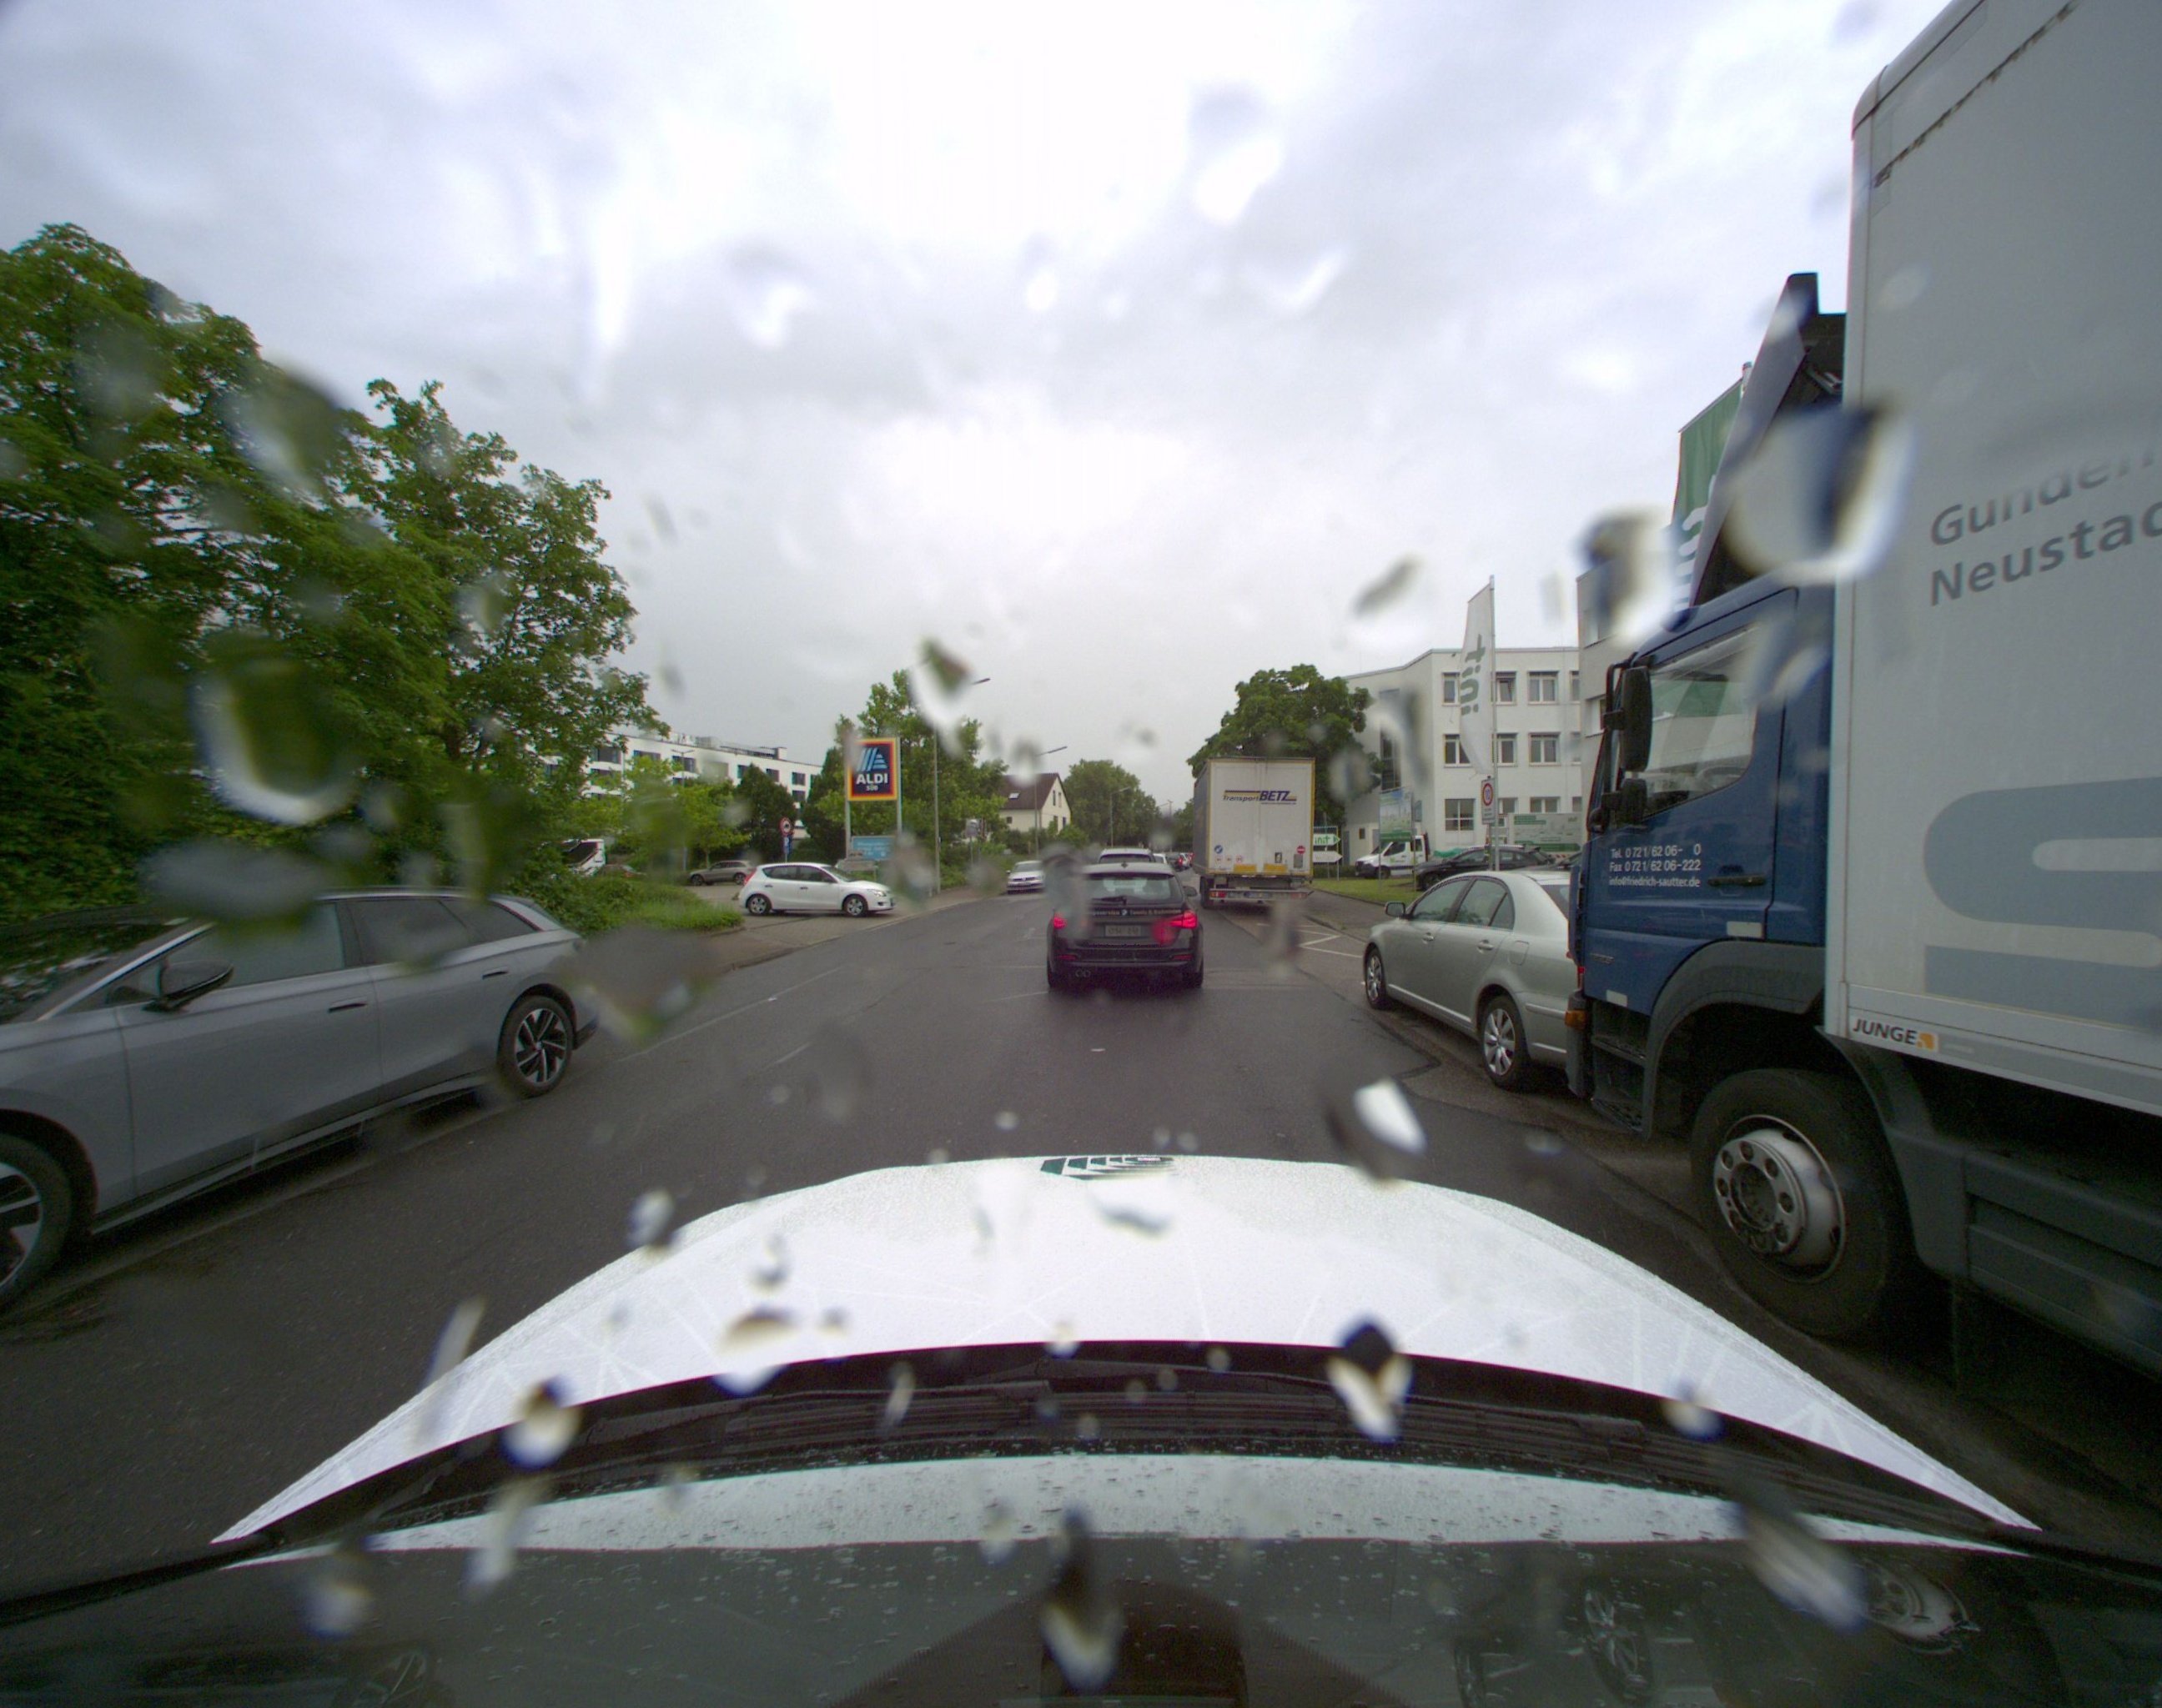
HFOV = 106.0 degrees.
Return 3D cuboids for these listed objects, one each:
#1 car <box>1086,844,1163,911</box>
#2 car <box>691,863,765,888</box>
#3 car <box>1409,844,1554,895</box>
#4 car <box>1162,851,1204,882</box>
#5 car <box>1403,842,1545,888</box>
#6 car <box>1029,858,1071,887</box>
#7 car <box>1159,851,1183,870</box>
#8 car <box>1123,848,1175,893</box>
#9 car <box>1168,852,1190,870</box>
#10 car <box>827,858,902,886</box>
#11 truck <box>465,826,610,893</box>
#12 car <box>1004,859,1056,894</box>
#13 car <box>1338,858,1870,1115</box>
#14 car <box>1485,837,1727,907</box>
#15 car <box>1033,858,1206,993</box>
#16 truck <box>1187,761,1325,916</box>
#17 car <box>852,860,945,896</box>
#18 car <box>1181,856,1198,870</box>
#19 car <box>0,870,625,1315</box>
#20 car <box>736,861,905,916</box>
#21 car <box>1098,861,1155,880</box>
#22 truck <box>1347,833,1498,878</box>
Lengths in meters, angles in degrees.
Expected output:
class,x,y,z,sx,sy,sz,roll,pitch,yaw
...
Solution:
class,x,y,z,sx,sy,sz,roll,pitch,yaw
car,1.051,0.568,21.437,1.798,1.586,3.999,0,-1,0
car,-23.424,1.428,54.070,3.969,1.499,2.002,-1,0,3
car,12.587,0.429,25.692,3.733,1.396,1.738,2,2,42
car,5.721,0.717,46.161,1.986,1.684,4.001,0,-1,1
car,13.496,0.334,28.093,4.098,1.415,1.701,1,3,42
car,-1.607,0.958,43.397,1.697,1.367,3.844,-4,0,5
car,7.610,0.544,68.675,1.793,1.586,4.011,-1,-1,10
car,2.670,0.610,31.223,1.794,1.586,4.008,-1,-1,7
car,9.040,0.609,74.823,1.793,1.586,4.011,-1,-1,10
car,-13.062,1.077,49.256,3.971,1.540,1.912,-1,0,2
truck,-23.792,0.237,36.090,1.986,2.657,6.398,-1,0,1
car,-2.274,0.978,37.439,1.698,1.367,4.606,-4,0,4
car,3.729,0.781,6.916,1.791,1.441,4.346,-1,0,1
car,12.316,0.406,19.282,4.616,1.468,1.802,-1,0,40
car,0.410,0.765,10.525,1.798,1.395,3.999,0,-1,0
truck,4.608,-0.366,23.028,2.729,3.611,7.759,1,0,4
car,-7.865,1.015,35.239,3.554,1.460,1.714,1,0,3
car,12.505,0.987,93.405,1.793,1.586,4.011,-1,-1,10
car,-4.764,0.959,4.342,1.802,1.528,4.748,-5,0,1
car,-7.251,0.941,22.927,4.178,1.460,1.711,0,0,-1
car,3.430,1.242,61.579,4.170,1.362,1.590,-1,0,2
truck,17.580,0.081,42.199,6.894,2.140,2.096,-1,0,3
